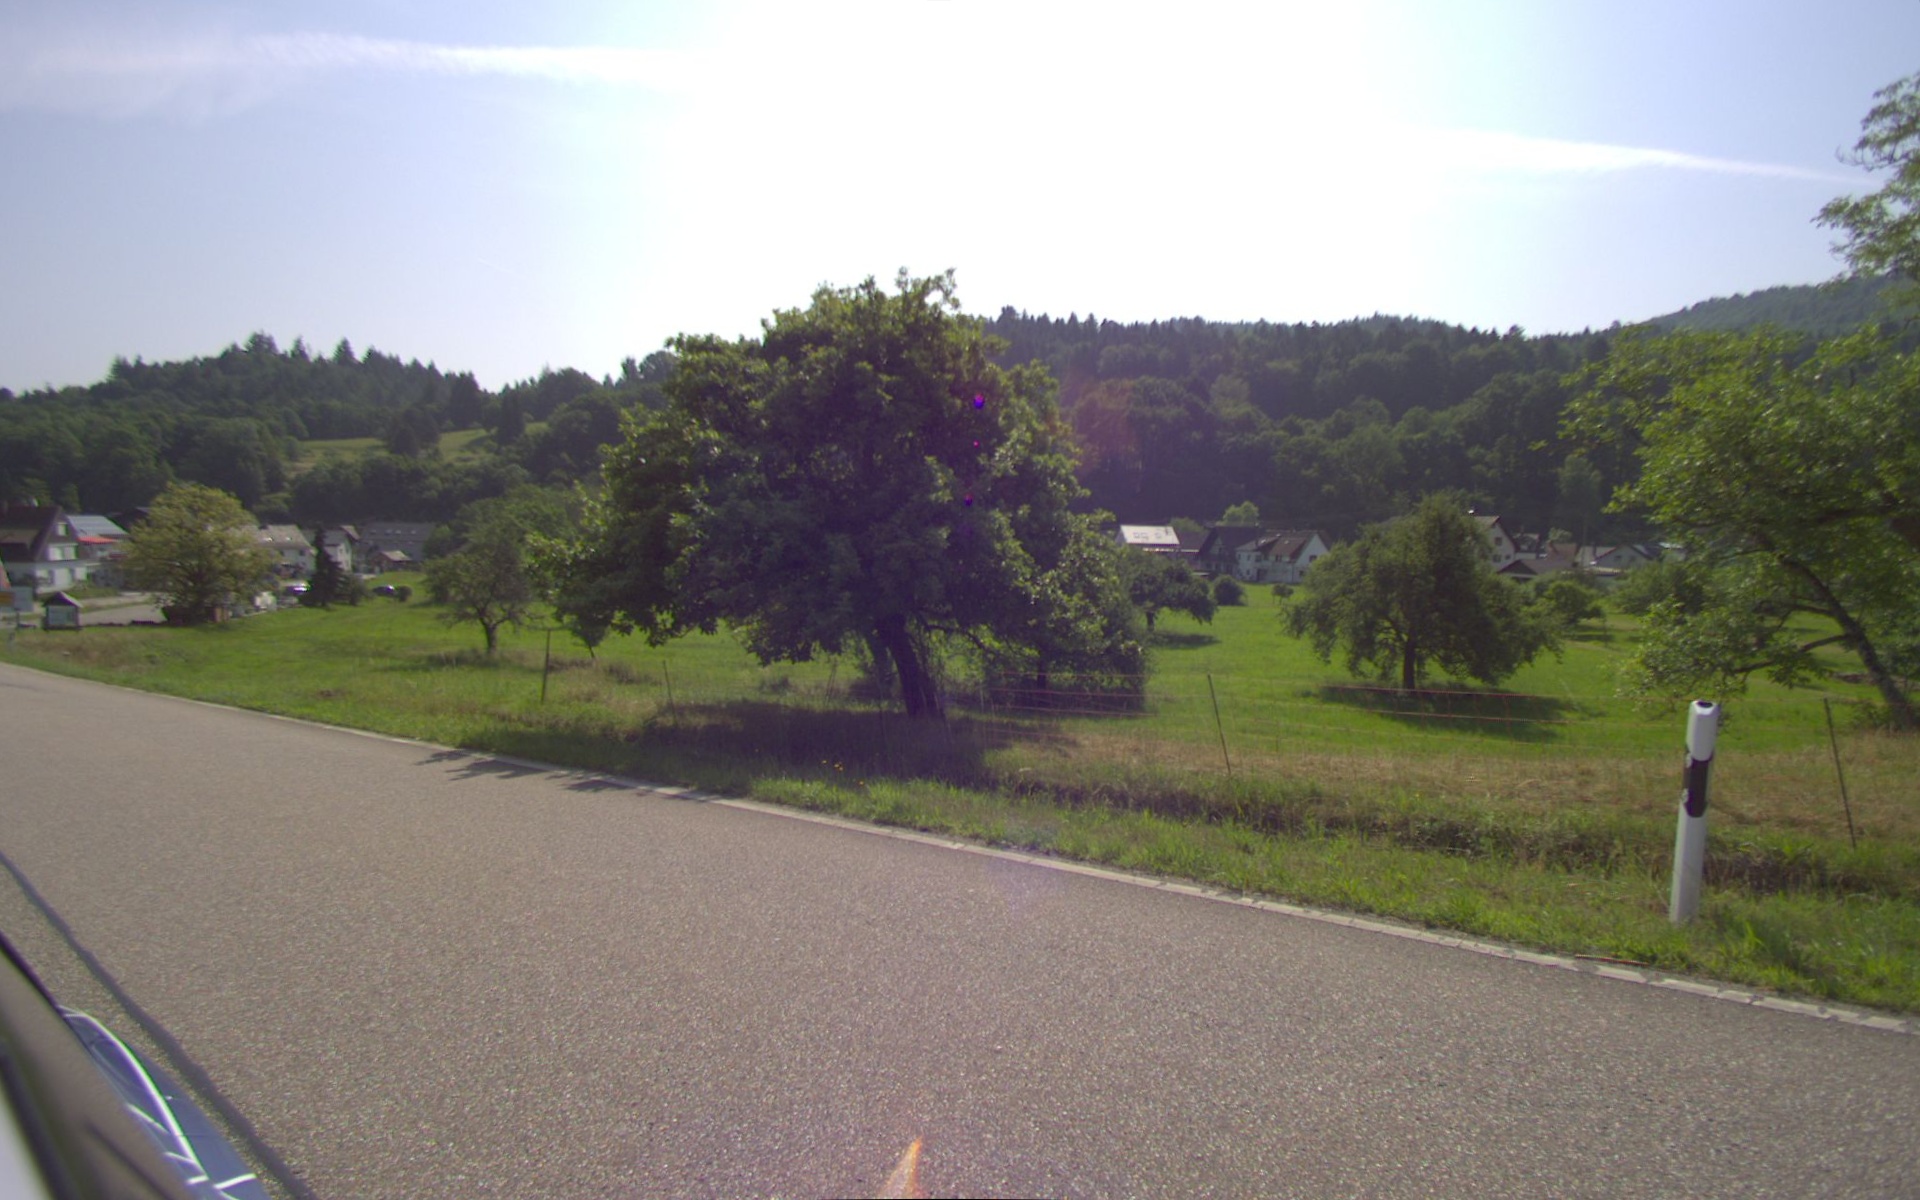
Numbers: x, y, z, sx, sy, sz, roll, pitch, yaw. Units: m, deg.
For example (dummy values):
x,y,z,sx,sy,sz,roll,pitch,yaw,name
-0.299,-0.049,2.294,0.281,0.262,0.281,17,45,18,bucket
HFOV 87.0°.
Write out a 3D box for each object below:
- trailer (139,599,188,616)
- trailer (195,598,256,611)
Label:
x,y,z,sx,sy,sz,roll,pitch,yaw,name
-75.465,0.713,96.010,1.965,1.235,5.565,-2,3,-20,trailer
-64.010,0.408,88.226,3.878,0.946,1.874,-1,4,-18,trailer
